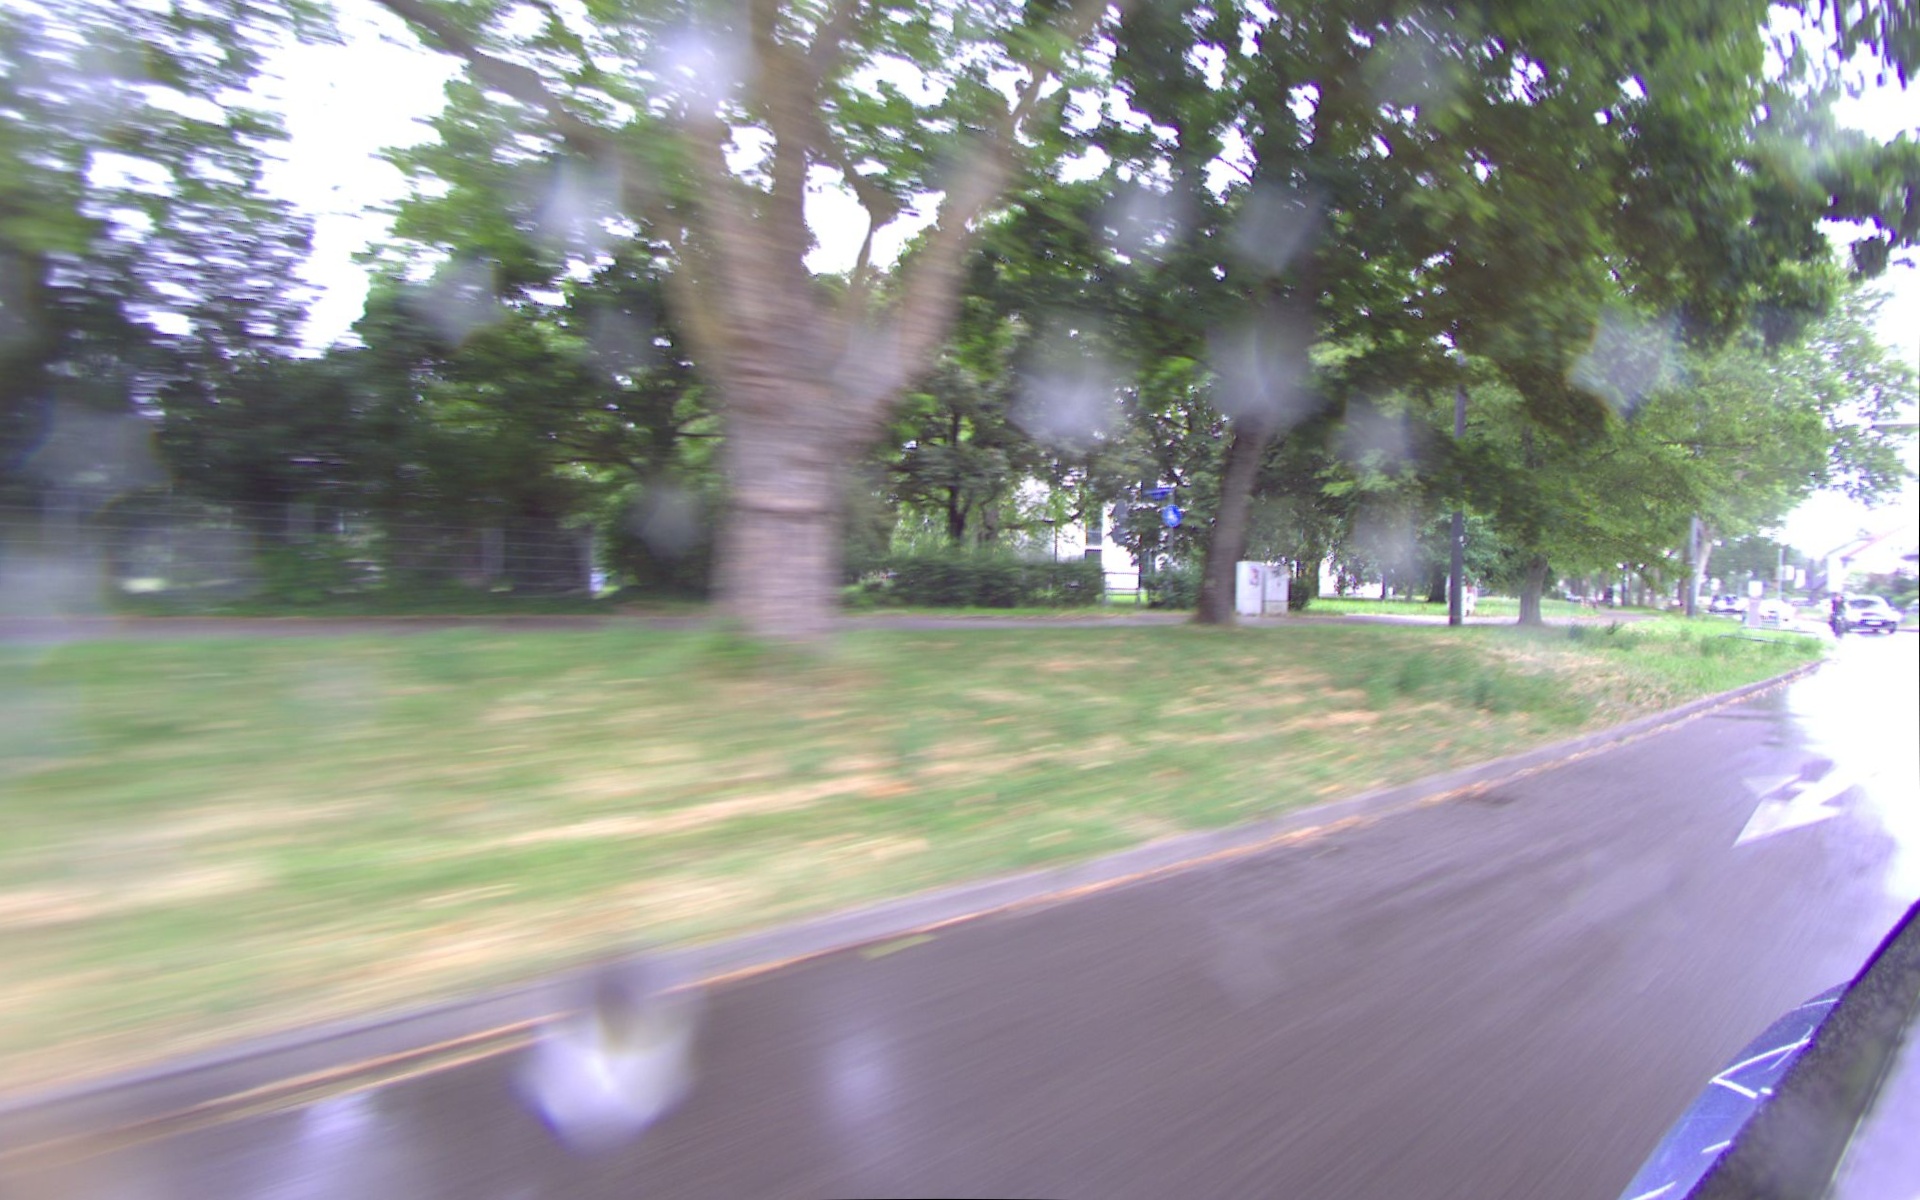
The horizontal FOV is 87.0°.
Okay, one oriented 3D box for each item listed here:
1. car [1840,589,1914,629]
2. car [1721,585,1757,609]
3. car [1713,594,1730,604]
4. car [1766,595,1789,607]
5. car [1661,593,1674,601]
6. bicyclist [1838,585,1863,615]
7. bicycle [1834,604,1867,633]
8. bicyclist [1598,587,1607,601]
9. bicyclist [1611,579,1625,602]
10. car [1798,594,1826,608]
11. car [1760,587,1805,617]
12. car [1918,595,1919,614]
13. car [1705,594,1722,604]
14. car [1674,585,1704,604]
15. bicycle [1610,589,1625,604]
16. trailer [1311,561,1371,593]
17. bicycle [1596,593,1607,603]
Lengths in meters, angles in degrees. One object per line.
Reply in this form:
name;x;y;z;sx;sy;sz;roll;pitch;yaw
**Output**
car;41.576;0.404;45.973;1.754;1.747;3.890;-1;-1;31
car;62.084;-0.279;80.728;1.754;1.746;3.892;2;2;30
car;124.544;-0.178;165.575;1.745;1.535;3.814;-1;0;29
car;109.596;0.121;135.761;1.745;1.535;3.814;-1;0;29
car;145.756;-0.679;208.501;1.745;1.535;3.814;-1;0;29
bicyclist;33.702;0.010;38.290;0.618;1.098;0.616;2;2;36
bicycle;33.642;0.686;38.239;0.655;1.026;2.228;2;2;35
bicyclist;49.188;-0.447;77.531;0.486;1.051;0.583;2;2;41
bicyclist;49.910;-0.726;76.766;0.711;1.742;0.943;2;2;41
car;101.336;0.138;120.420;1.744;1.634;4.068;-1;0;29
car;50.803;0.089;62.590;1.756;1.746;3.887;1;1;33
car;81.213;0.369;83.650;1.983;1.634;4.633;0;0;30
car;126.339;-0.159;169.791;1.745;1.535;3.814;-1;0;29
car;70.952;-0.527;98.568;1.752;1.746;3.897;2;2;27
bicycle;49.905;-0.271;76.783;0.711;1.156;1.943;2;2;41
trailer;29.831;-1.827;79.261;3.937;2.337;1.896;1;1;-9
bicycle;49.190;-0.169;77.558;0.486;0.717;1.436;2;2;40
